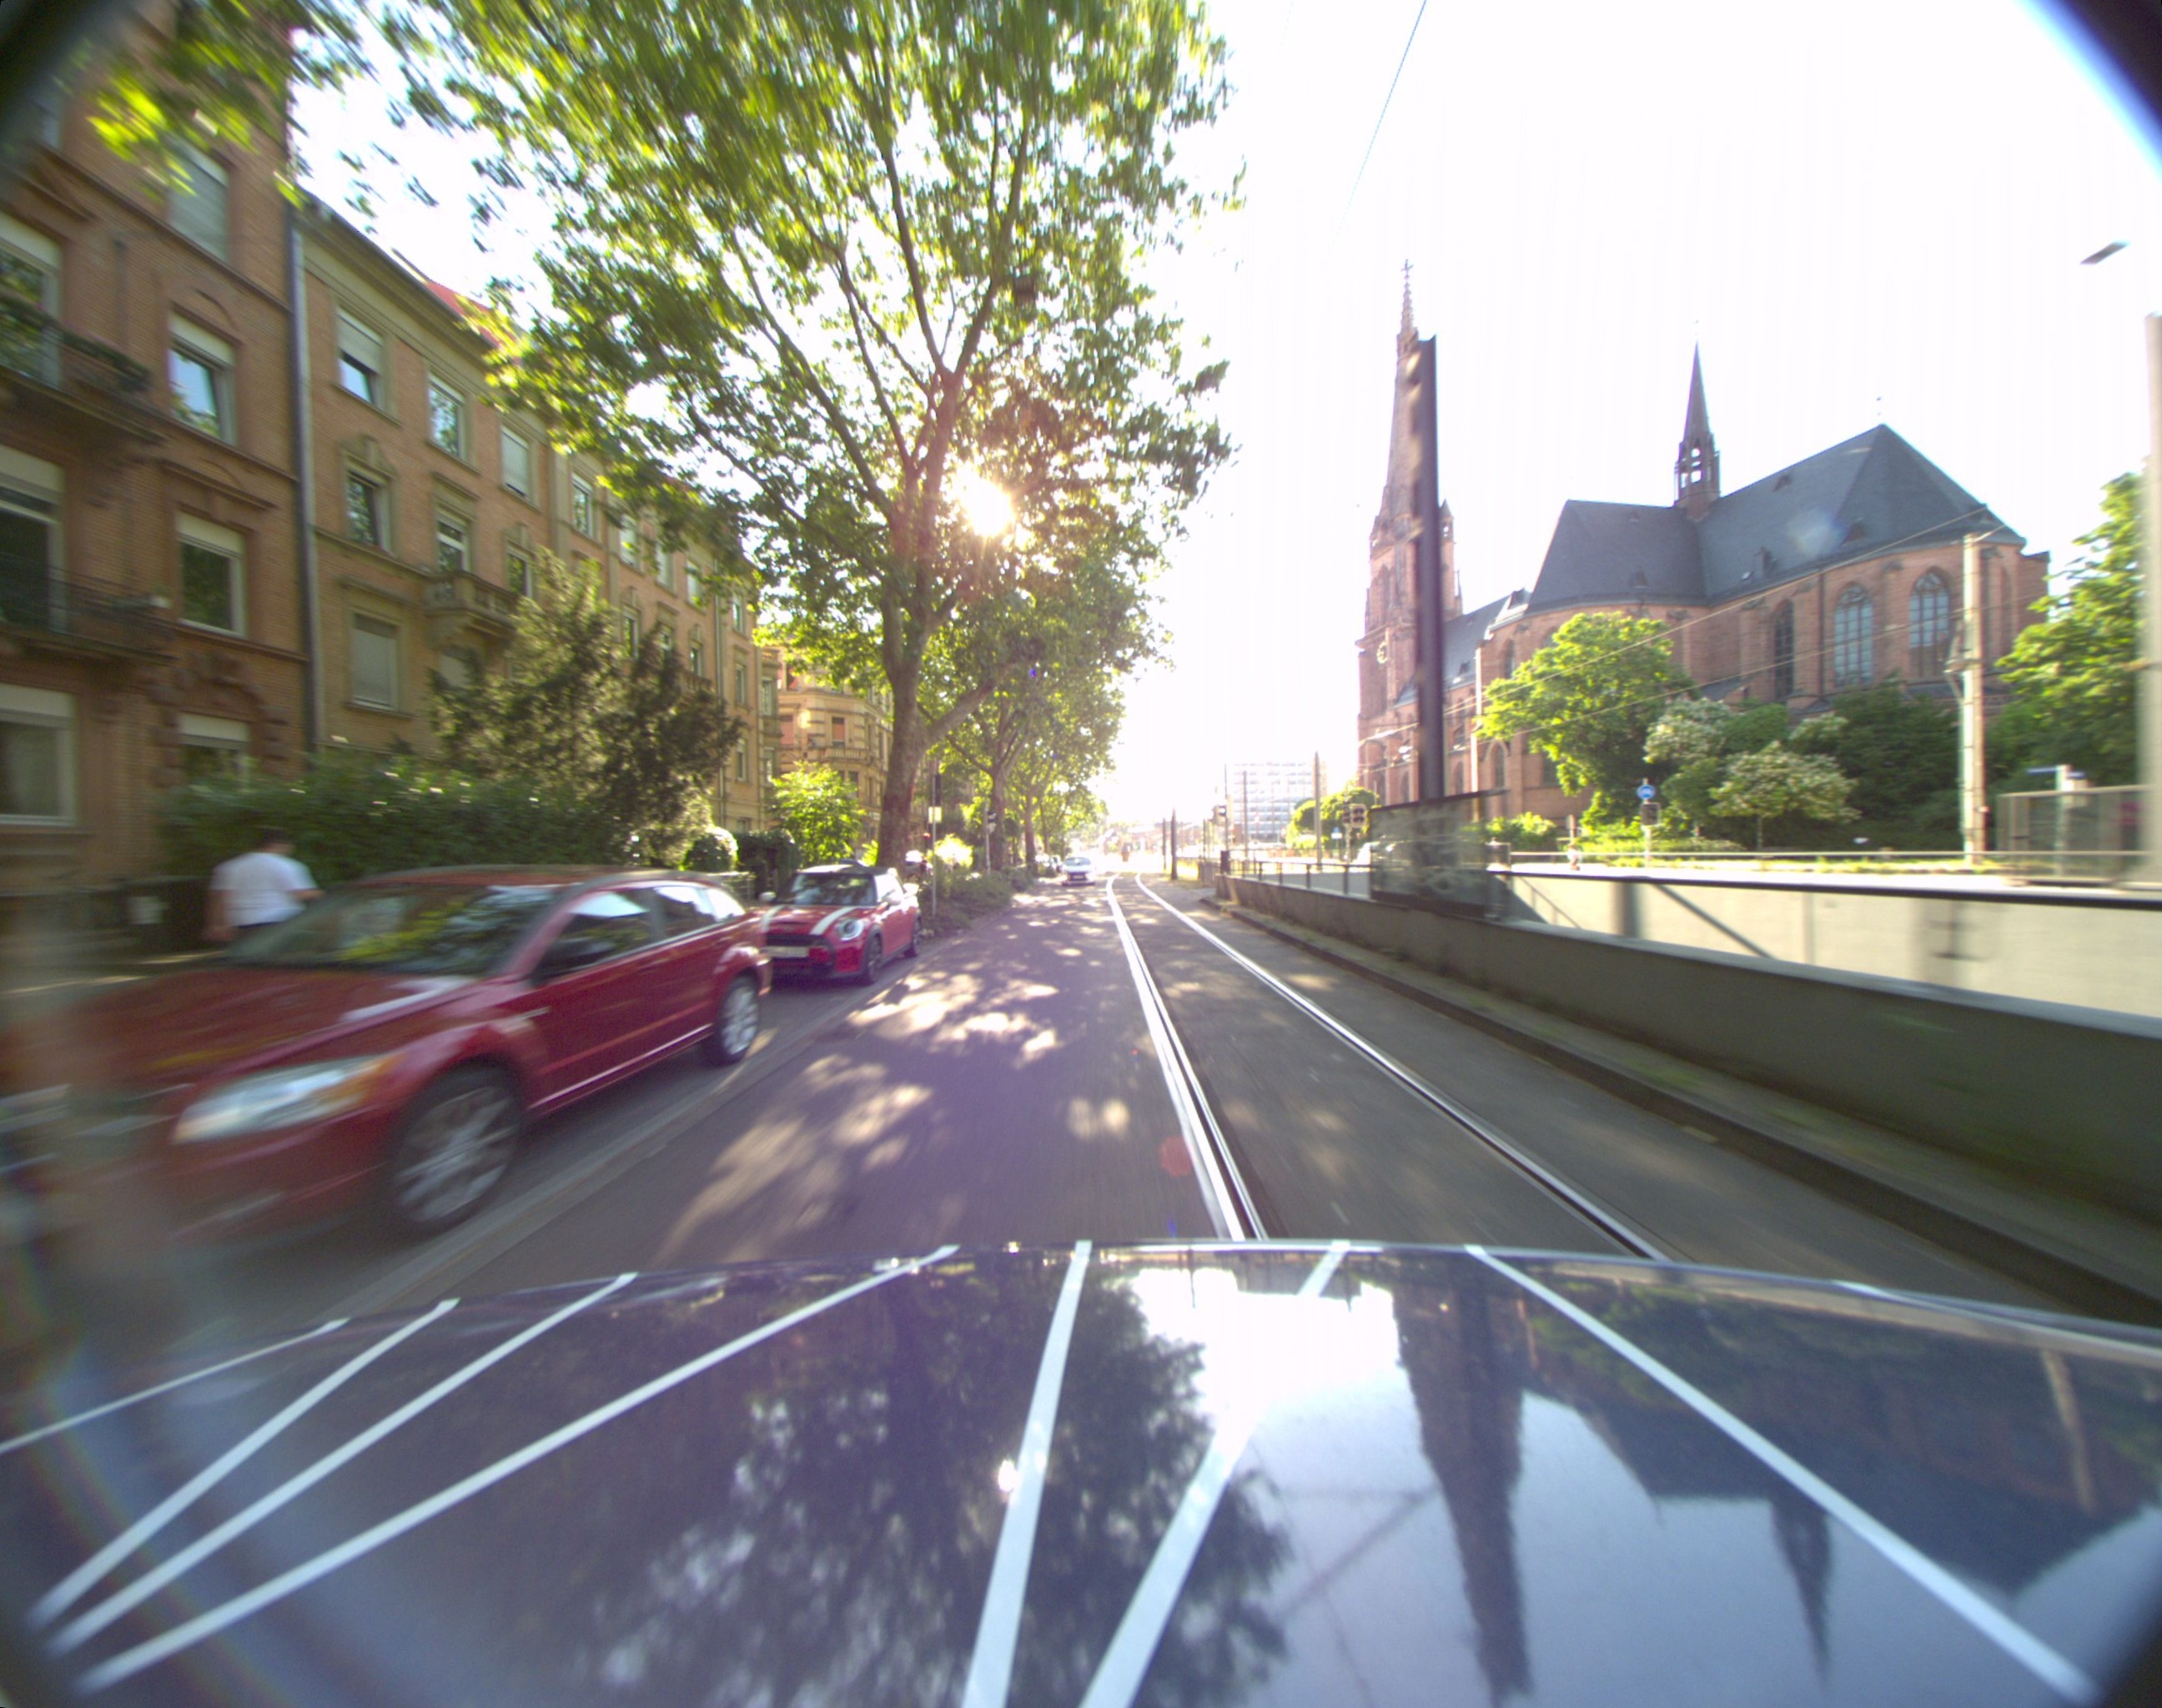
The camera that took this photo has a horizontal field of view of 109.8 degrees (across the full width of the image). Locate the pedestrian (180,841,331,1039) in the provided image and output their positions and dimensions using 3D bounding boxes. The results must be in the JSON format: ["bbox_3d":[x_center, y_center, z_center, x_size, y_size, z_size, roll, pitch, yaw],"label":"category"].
[{"bbox_3d":[-7.768,0.781,7.180,0.690,1.775,0.644,-1,0,0],"label":"pedestrian"}]

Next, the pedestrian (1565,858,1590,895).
[{"bbox_3d":[22.633,1.018,34.645,0.494,1.663,0.754,-4,1,-14],"label":"pedestrian"}]

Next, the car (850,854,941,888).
[{"bbox_3d":[-10.378,0.961,42.709,4.559,1.529,1.908,-5,-1,-1],"label":"car"}]

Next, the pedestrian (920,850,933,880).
[{"bbox_3d":[-8.136,0.585,39.961,0.540,1.540,0.607,-1,-1,0],"label":"pedestrian"}]

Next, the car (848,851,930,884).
[{"bbox_3d":[-12.040,0.813,47.774,4.559,1.836,1.907,-2,1,1],"label":"car"}]

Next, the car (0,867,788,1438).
[{"bbox_3d":[-3.529,0.942,4.519,1.718,1.540,4.500,0,1,1],"label":"car"}]

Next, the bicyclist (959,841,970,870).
[{"bbox_3d":[-6.625,0.092,43.353,0.544,1.616,0.644,-1,0,-5],"label":"bicyclist"}]

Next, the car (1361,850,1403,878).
[{"bbox_3d":[22.834,0.717,57.881,1.997,2.002,5.015,0,1,10],"label":"car"}]

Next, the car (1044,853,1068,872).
[{"bbox_3d":[-2.152,0.735,66.230,1.680,1.507,4.723,-1,1,2],"label":"car"}]

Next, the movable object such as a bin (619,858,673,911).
[{"bbox_3d":[-12.406,0.860,21.689,0.909,1.456,1.083,0,1,0],"label":"movable object such as a bin"}]

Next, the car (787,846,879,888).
[{"bbox_3d":[-12.457,0.684,38.399,3.997,2.001,2.001,-1,-2,-1],"label":"car"}]

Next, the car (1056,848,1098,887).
[{"bbox_3d":[-0.146,0.707,38.035,1.823,1.728,4.002,-4,-2,2],"label":"car"}]

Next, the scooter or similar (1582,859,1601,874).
[{"bbox_3d":[31.896,0.795,47.504,0.309,0.930,0.919,-5,1,-20],"label":"scooter or similar"}]

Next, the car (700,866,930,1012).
[{"bbox_3d":[-3.373,0.985,10.518,1.719,1.454,3.999,-1,1,0],"label":"car"}]

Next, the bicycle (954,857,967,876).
[{"bbox_3d":[-6.858,0.706,43.317,0.562,1.031,1.932,-3,0,-6],"label":"bicycle"}]

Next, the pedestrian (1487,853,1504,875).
[{"bbox_3d":[29.412,0.707,53.911,0.587,1.480,0.946,-4,1,-2],"label":"pedestrian"}]

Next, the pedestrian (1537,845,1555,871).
[{"bbox_3d":[32.404,0.299,52.957,0.587,1.774,0.946,-4,1,-2],"label":"pedestrian"}]
